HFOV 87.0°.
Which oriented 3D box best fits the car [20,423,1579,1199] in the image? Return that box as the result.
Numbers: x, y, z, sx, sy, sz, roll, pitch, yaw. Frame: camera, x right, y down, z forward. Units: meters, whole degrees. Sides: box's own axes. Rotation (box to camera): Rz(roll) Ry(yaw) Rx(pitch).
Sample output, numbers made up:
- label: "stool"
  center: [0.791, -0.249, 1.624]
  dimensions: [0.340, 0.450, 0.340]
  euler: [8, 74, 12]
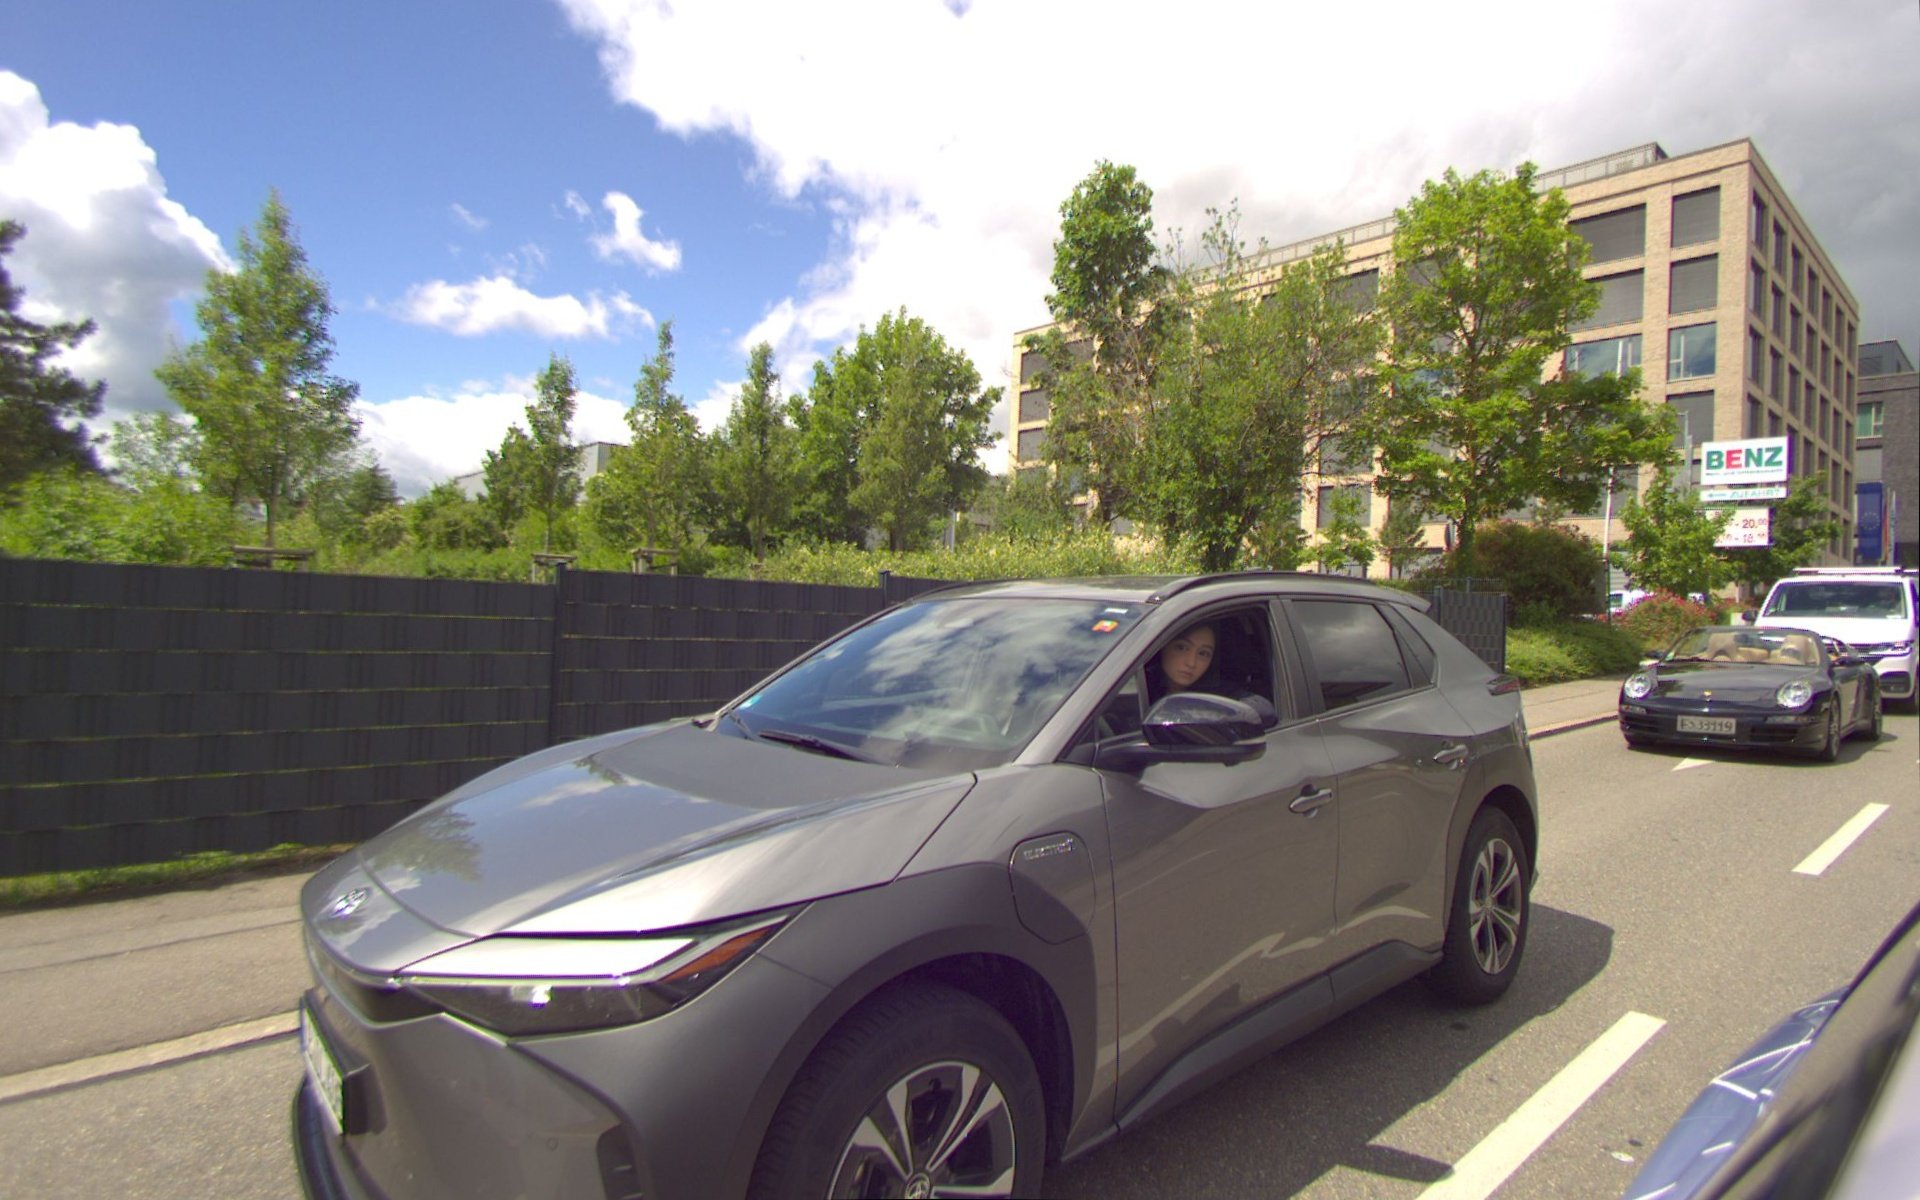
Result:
- label: "car"
  center: [0.132, 0.648, 3.304]
  dimensions: [4.601, 1.634, 1.922]
  euler: [0, -1, -41]

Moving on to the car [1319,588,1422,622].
- label: "car"
  center: [19.334, 0.192, 47.790]
  dimensions: [1.705, 1.436, 4.215]
  euler: [1, 1, -41]

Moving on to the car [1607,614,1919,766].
- label: "car"
  center: [8.802, 0.814, 10.945]
  dimensions: [4.487, 1.290, 1.776]
  euler: [0, -1, -40]

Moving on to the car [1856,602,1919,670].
- label: "car"
  center: [20.506, 0.716, 21.228]
  dimensions: [4.485, 1.290, 1.778]
  euler: [0, 1, -38]

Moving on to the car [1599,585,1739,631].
- label: "car"
  center: [27.435, 0.270, 39.255]
  dimensions: [1.707, 1.596, 4.211]
  euler: [1, 1, -44]

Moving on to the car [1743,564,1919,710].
- label: "car"
  center: [13.486, 0.491, 15.121]
  dimensions: [4.563, 1.874, 1.962]
  euler: [0, -1, -41]
